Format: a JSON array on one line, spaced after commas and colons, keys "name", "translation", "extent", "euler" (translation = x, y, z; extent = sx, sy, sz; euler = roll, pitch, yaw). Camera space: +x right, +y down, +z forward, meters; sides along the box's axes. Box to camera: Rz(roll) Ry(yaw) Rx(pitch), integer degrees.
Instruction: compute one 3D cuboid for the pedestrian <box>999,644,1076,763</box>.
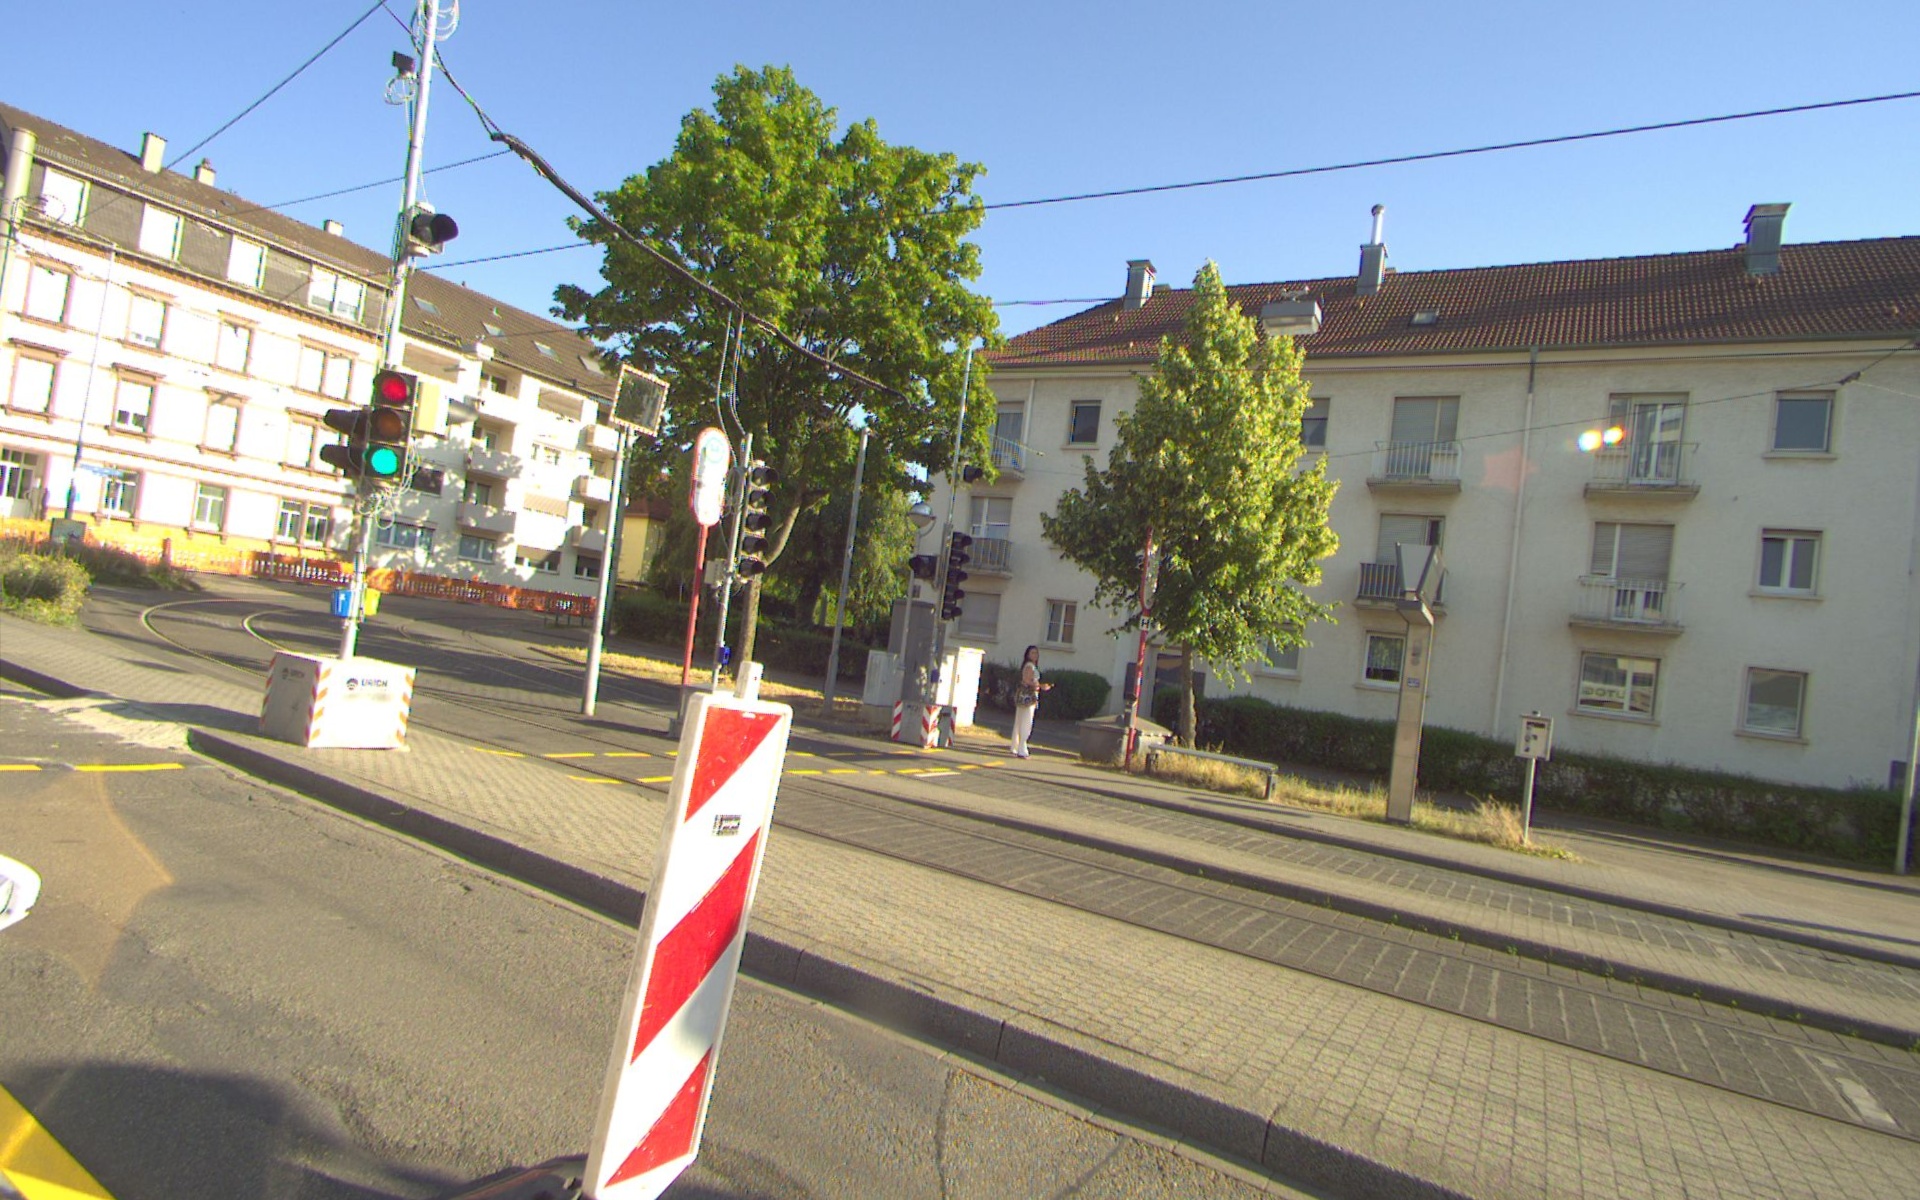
[{"name": "pedestrian", "translation": [1.180, 1.549, 15.202], "extent": [0.776, 1.639, 0.827], "euler": [7, -1, 22]}]
